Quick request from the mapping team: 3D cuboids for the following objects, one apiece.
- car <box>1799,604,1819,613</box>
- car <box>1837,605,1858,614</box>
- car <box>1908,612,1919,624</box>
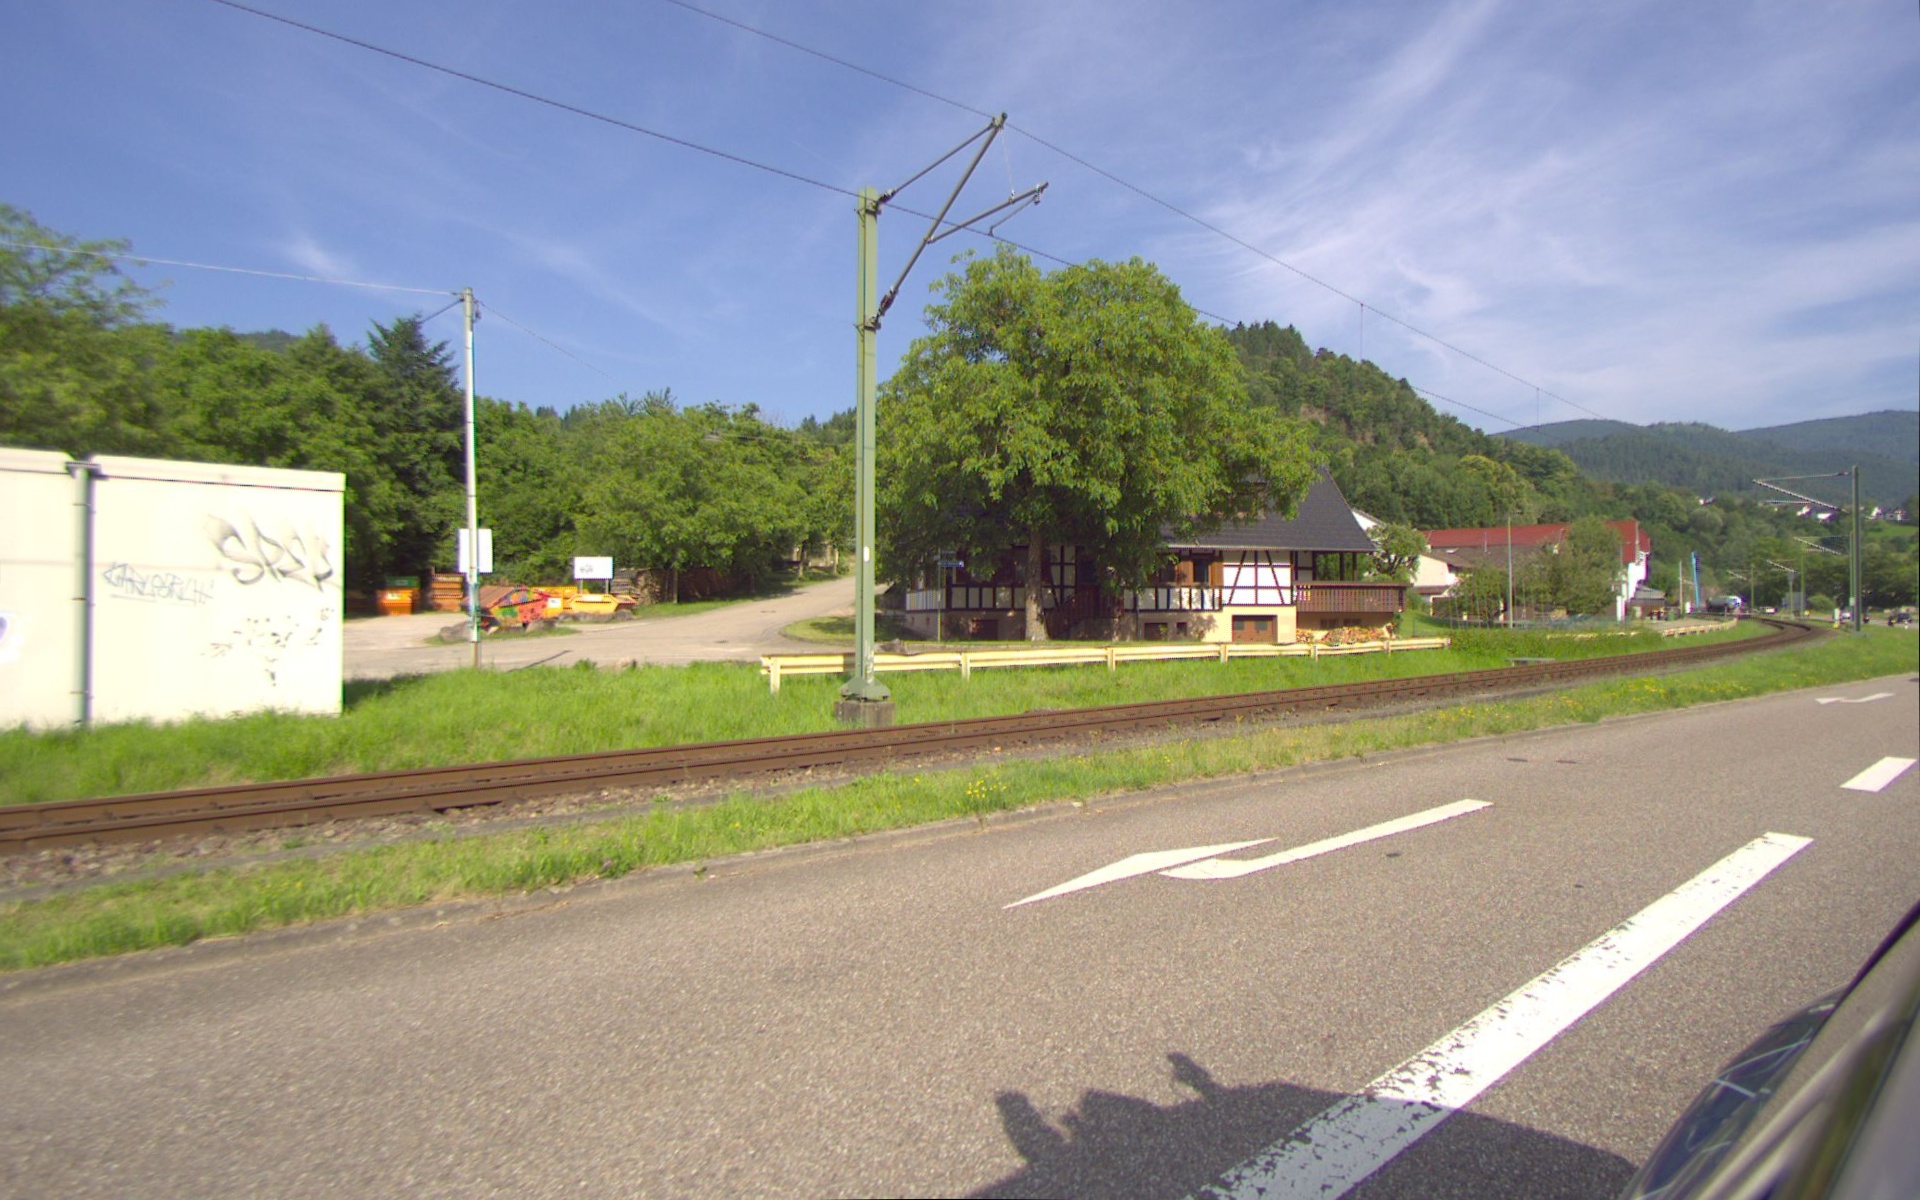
[{"bbox_3d":[164.293,1.635,195.858,1.981,1.683,3.961,-1,-1,27],"label":"car"},{"bbox_3d":[154.530,1.662,176.146,1.852,1.683,3.959,-1,-1,28],"label":"car"},{"bbox_3d":[139.774,2.619,147.278,1.985,1.683,3.953,-1,-1,33],"label":"car"}]
